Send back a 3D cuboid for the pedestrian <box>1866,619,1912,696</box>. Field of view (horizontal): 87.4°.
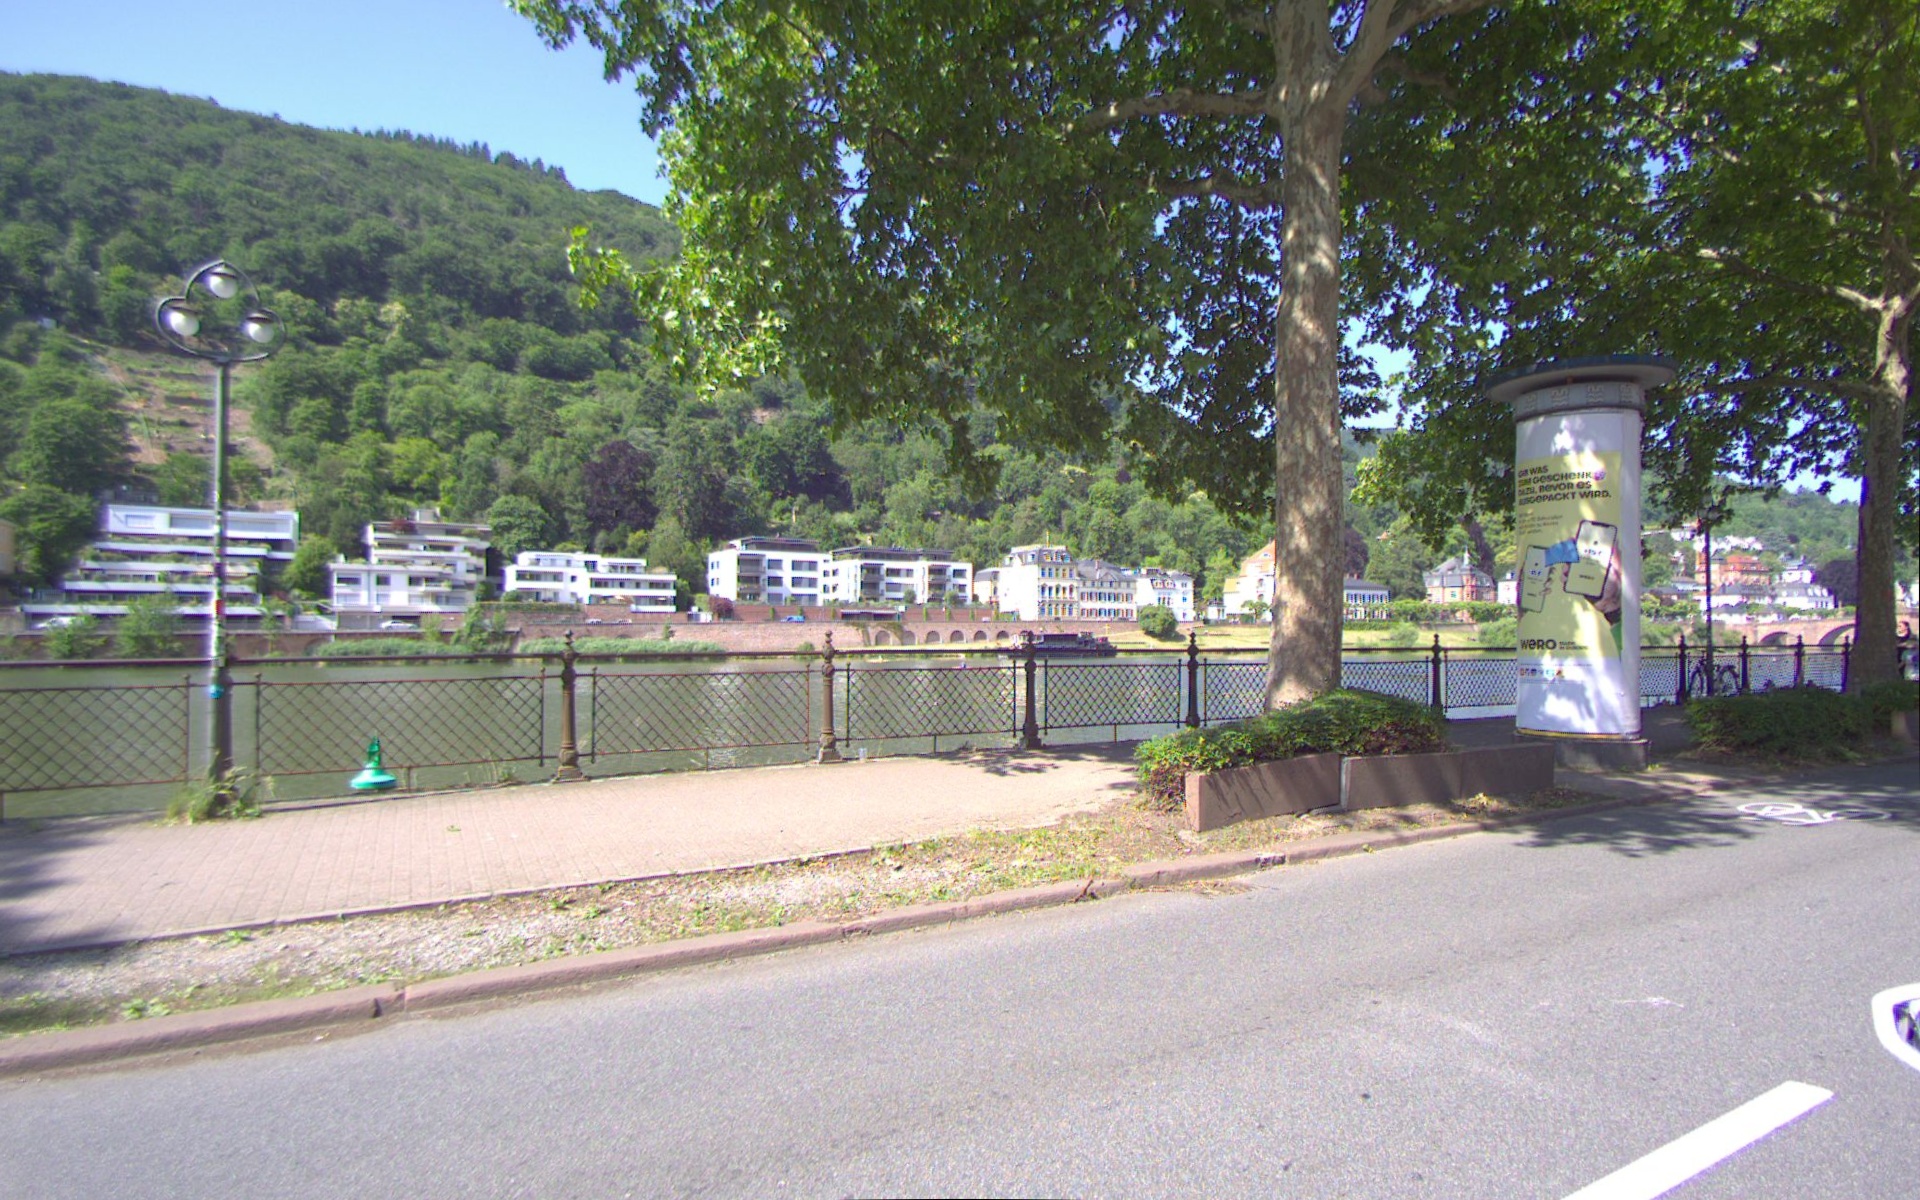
[{"bbox_3d":[20.810,1.274,22.507,0.577,1.708,0.598,1,-2,-31],"label":"pedestrian"}]

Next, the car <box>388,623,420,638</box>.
[{"bbox_3d":[-80.505,4.455,145.369,3.953,2.040,1.984,2,0,-30],"label":"car"}]

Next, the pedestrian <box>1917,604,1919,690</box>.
[{"bbox_3d":[21.616,1.045,22.199,0.431,1.912,0.531,1,1,-30],"label":"pedestrian"}]

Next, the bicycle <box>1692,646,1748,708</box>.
[{"bbox_3d":[14.356,1.445,18.961,1.281,1.106,0.357,1,2,-31],"label":"bicycle"}]

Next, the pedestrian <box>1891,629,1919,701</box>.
[{"bbox_3d":[18.657,1.262,19.687,0.411,1.381,0.477,1,0,-26],"label":"pedestrian"}]
